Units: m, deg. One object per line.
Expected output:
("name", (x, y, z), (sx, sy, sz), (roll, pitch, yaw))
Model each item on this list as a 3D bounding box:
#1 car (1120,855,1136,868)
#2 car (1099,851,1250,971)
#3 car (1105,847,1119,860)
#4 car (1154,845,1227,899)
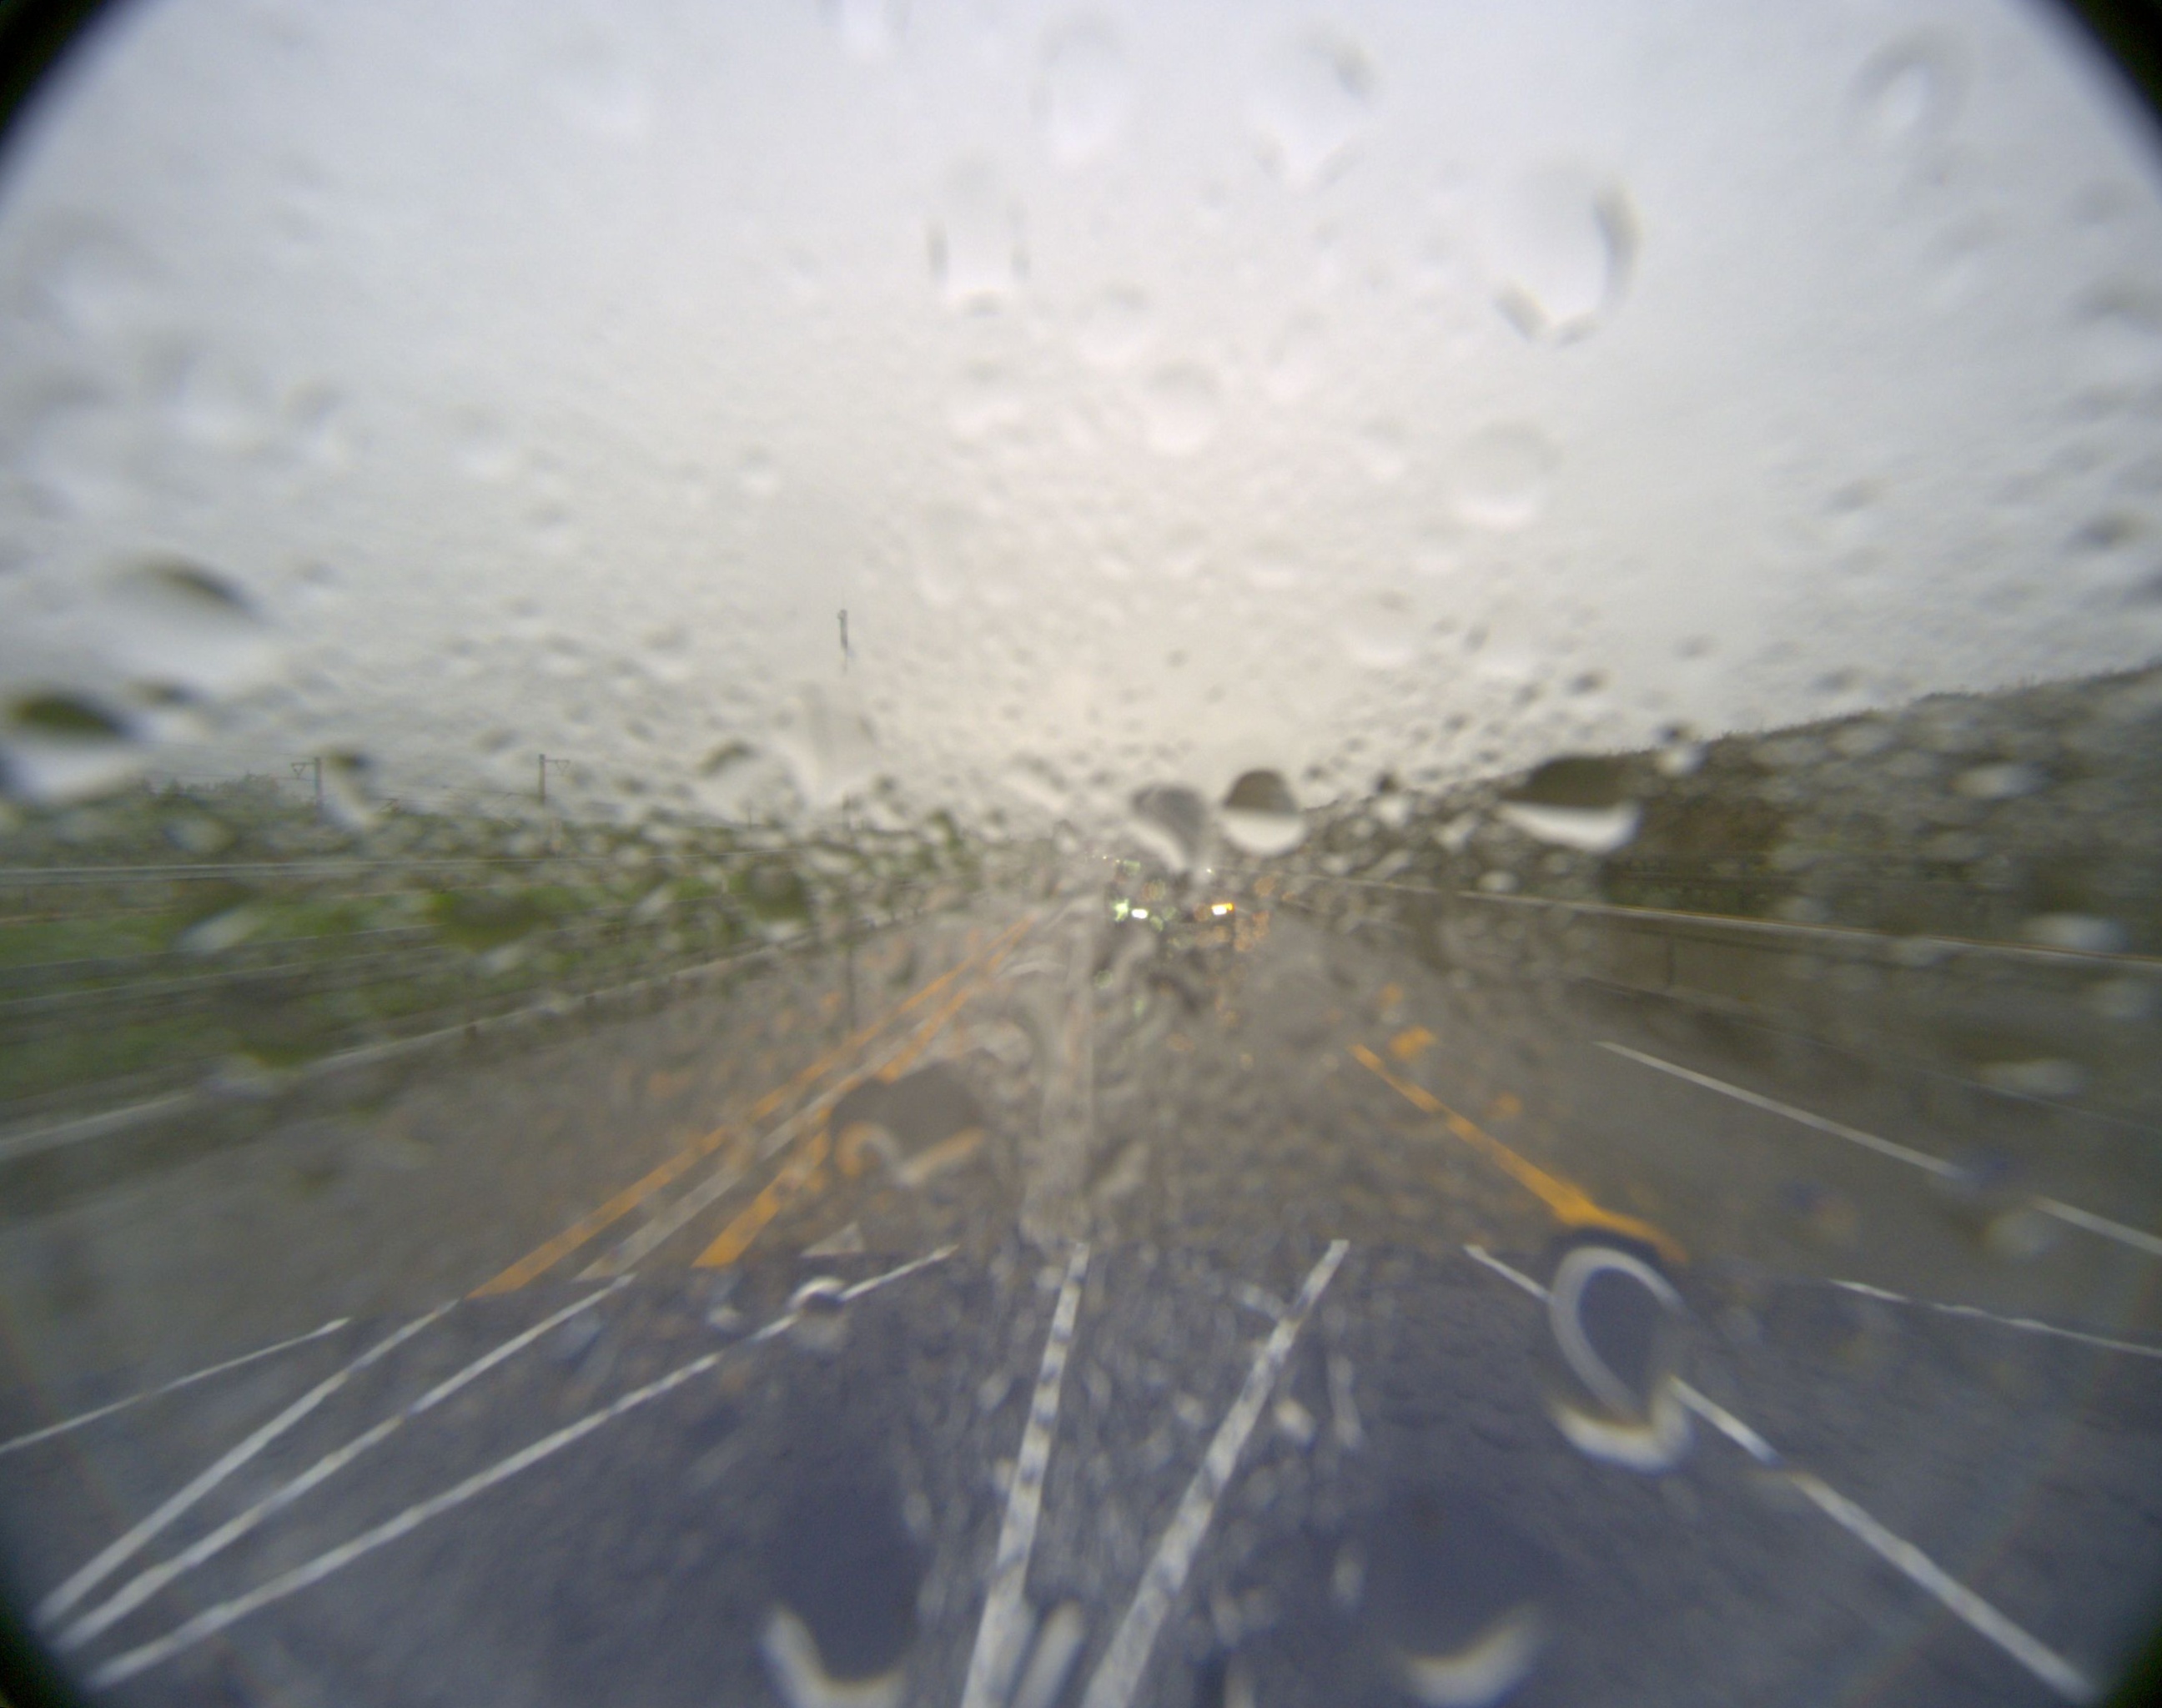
("car", (4.051, 0.678, 65.684), (1.335, 1.105, 3.199), (1, -1, 2))
("car", (1.335, 0.774, 12.713), (1.944, 1.519, 4.795), (-2, 1, 1))
("car", (4.651, -0.071, 113.983), (1.998, 1.761, 4.000), (-2, 1, 1))
("car", (3.753, 0.575, 26.653), (1.971, 1.670, 3.999), (-2, 1, 1))
